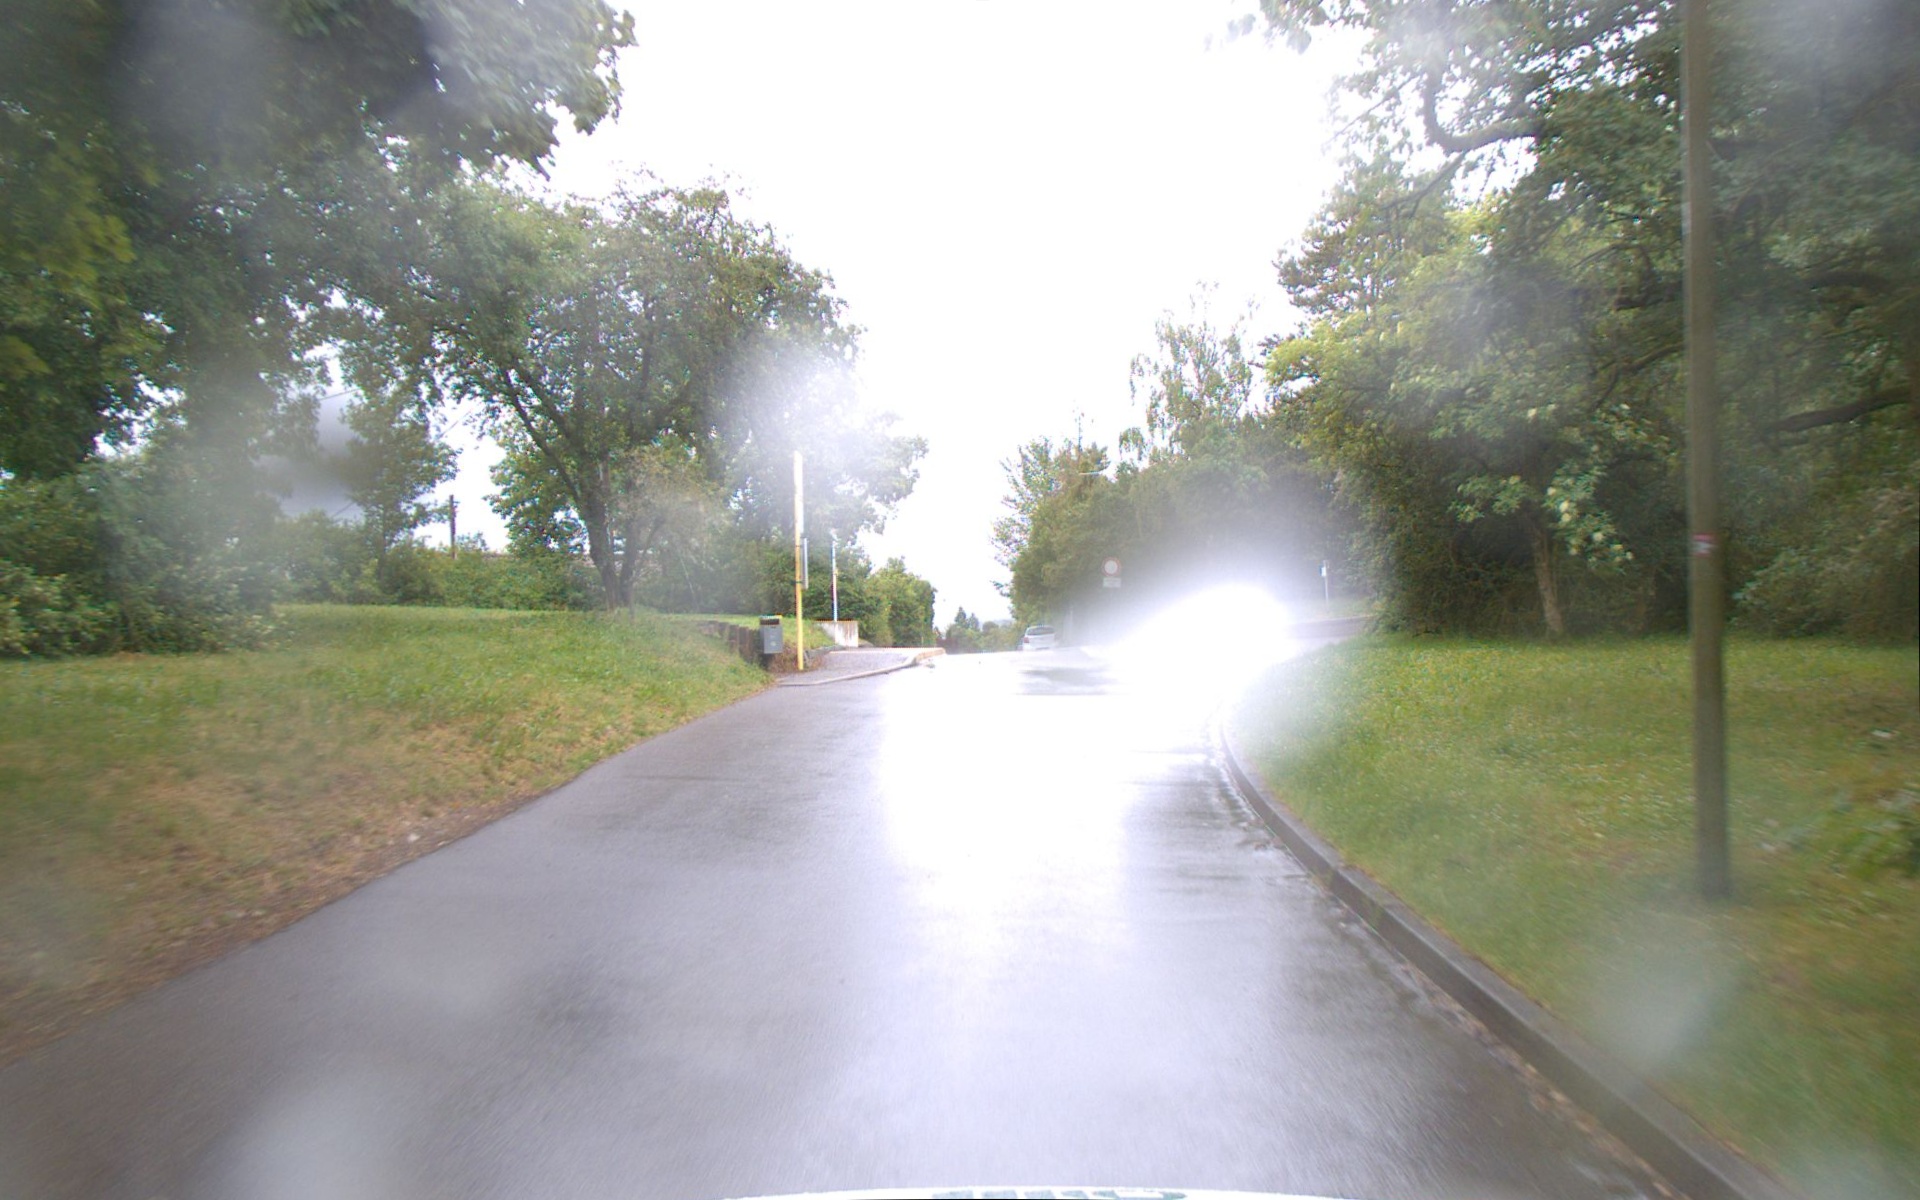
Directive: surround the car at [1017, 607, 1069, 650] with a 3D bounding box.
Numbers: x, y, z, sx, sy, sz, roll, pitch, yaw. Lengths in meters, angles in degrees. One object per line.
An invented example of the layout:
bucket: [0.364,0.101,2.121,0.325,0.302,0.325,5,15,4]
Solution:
car: [3.557,1.240,70.475,1.951,1.611,4.002,-2,-3,6]
